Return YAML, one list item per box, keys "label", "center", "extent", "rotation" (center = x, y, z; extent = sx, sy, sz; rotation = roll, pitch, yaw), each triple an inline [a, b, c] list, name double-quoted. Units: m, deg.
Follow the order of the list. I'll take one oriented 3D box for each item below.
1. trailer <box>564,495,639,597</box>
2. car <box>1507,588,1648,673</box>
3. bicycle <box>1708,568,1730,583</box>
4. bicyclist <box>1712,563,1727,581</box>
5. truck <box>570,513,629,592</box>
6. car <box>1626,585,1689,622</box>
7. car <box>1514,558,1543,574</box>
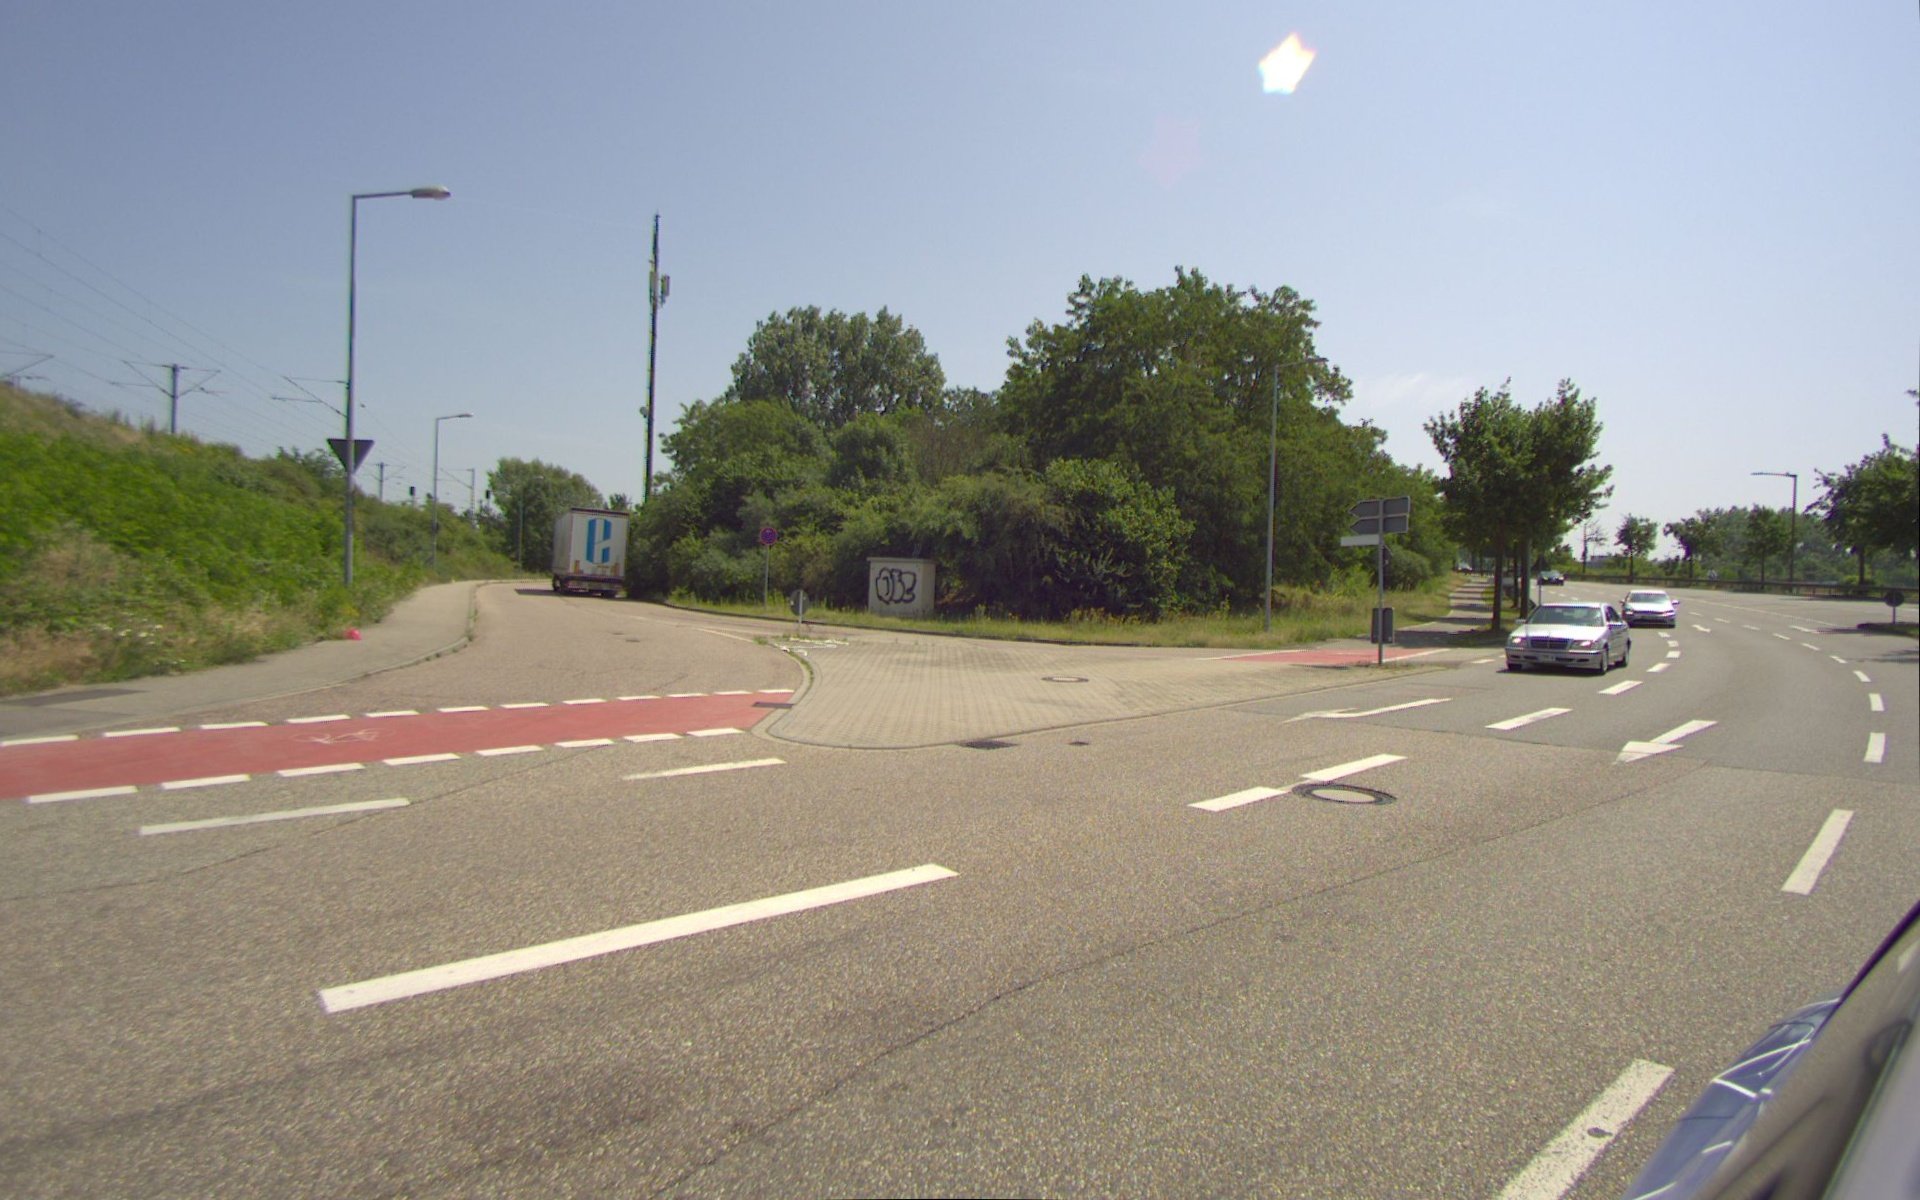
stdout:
- label: "trailer"
  center: [-18.566, -2.547, 52.182]
  extent: [3.023, 4.423, 14.806]
  rotation: [2, 0, -20]
- label: "car"
  center: [12.930, 0.544, 21.083]
  extent: [1.758, 1.517, 4.169]
  rotation: [2, 2, 42]
- label: "bicycle"
  center: [66.838, -2.167, 89.111]
  extent: [0.726, 1.129, 2.037]
  rotation: [5, 4, 16]
- label: "bicyclist"
  center: [66.865, -2.483, 89.113]
  extent: [0.722, 1.483, 0.820]
  rotation: [5, 4, 17]
- label: "truck"
  center: [-21.661, -2.761, 60.767]
  extent: [3.021, 4.423, 6.092]
  rotation: [2, 0, -20]
- label: "car"
  center: [28.329, 0.093, 41.208]
  extent: [1.986, 1.386, 4.183]
  rotation: [1, 1, 33]
- label: "car"
  center: [68.948, -4.111, 122.727]
  extent: [1.893, 1.673, 4.387]
  rotation: [3, 0, 14]
